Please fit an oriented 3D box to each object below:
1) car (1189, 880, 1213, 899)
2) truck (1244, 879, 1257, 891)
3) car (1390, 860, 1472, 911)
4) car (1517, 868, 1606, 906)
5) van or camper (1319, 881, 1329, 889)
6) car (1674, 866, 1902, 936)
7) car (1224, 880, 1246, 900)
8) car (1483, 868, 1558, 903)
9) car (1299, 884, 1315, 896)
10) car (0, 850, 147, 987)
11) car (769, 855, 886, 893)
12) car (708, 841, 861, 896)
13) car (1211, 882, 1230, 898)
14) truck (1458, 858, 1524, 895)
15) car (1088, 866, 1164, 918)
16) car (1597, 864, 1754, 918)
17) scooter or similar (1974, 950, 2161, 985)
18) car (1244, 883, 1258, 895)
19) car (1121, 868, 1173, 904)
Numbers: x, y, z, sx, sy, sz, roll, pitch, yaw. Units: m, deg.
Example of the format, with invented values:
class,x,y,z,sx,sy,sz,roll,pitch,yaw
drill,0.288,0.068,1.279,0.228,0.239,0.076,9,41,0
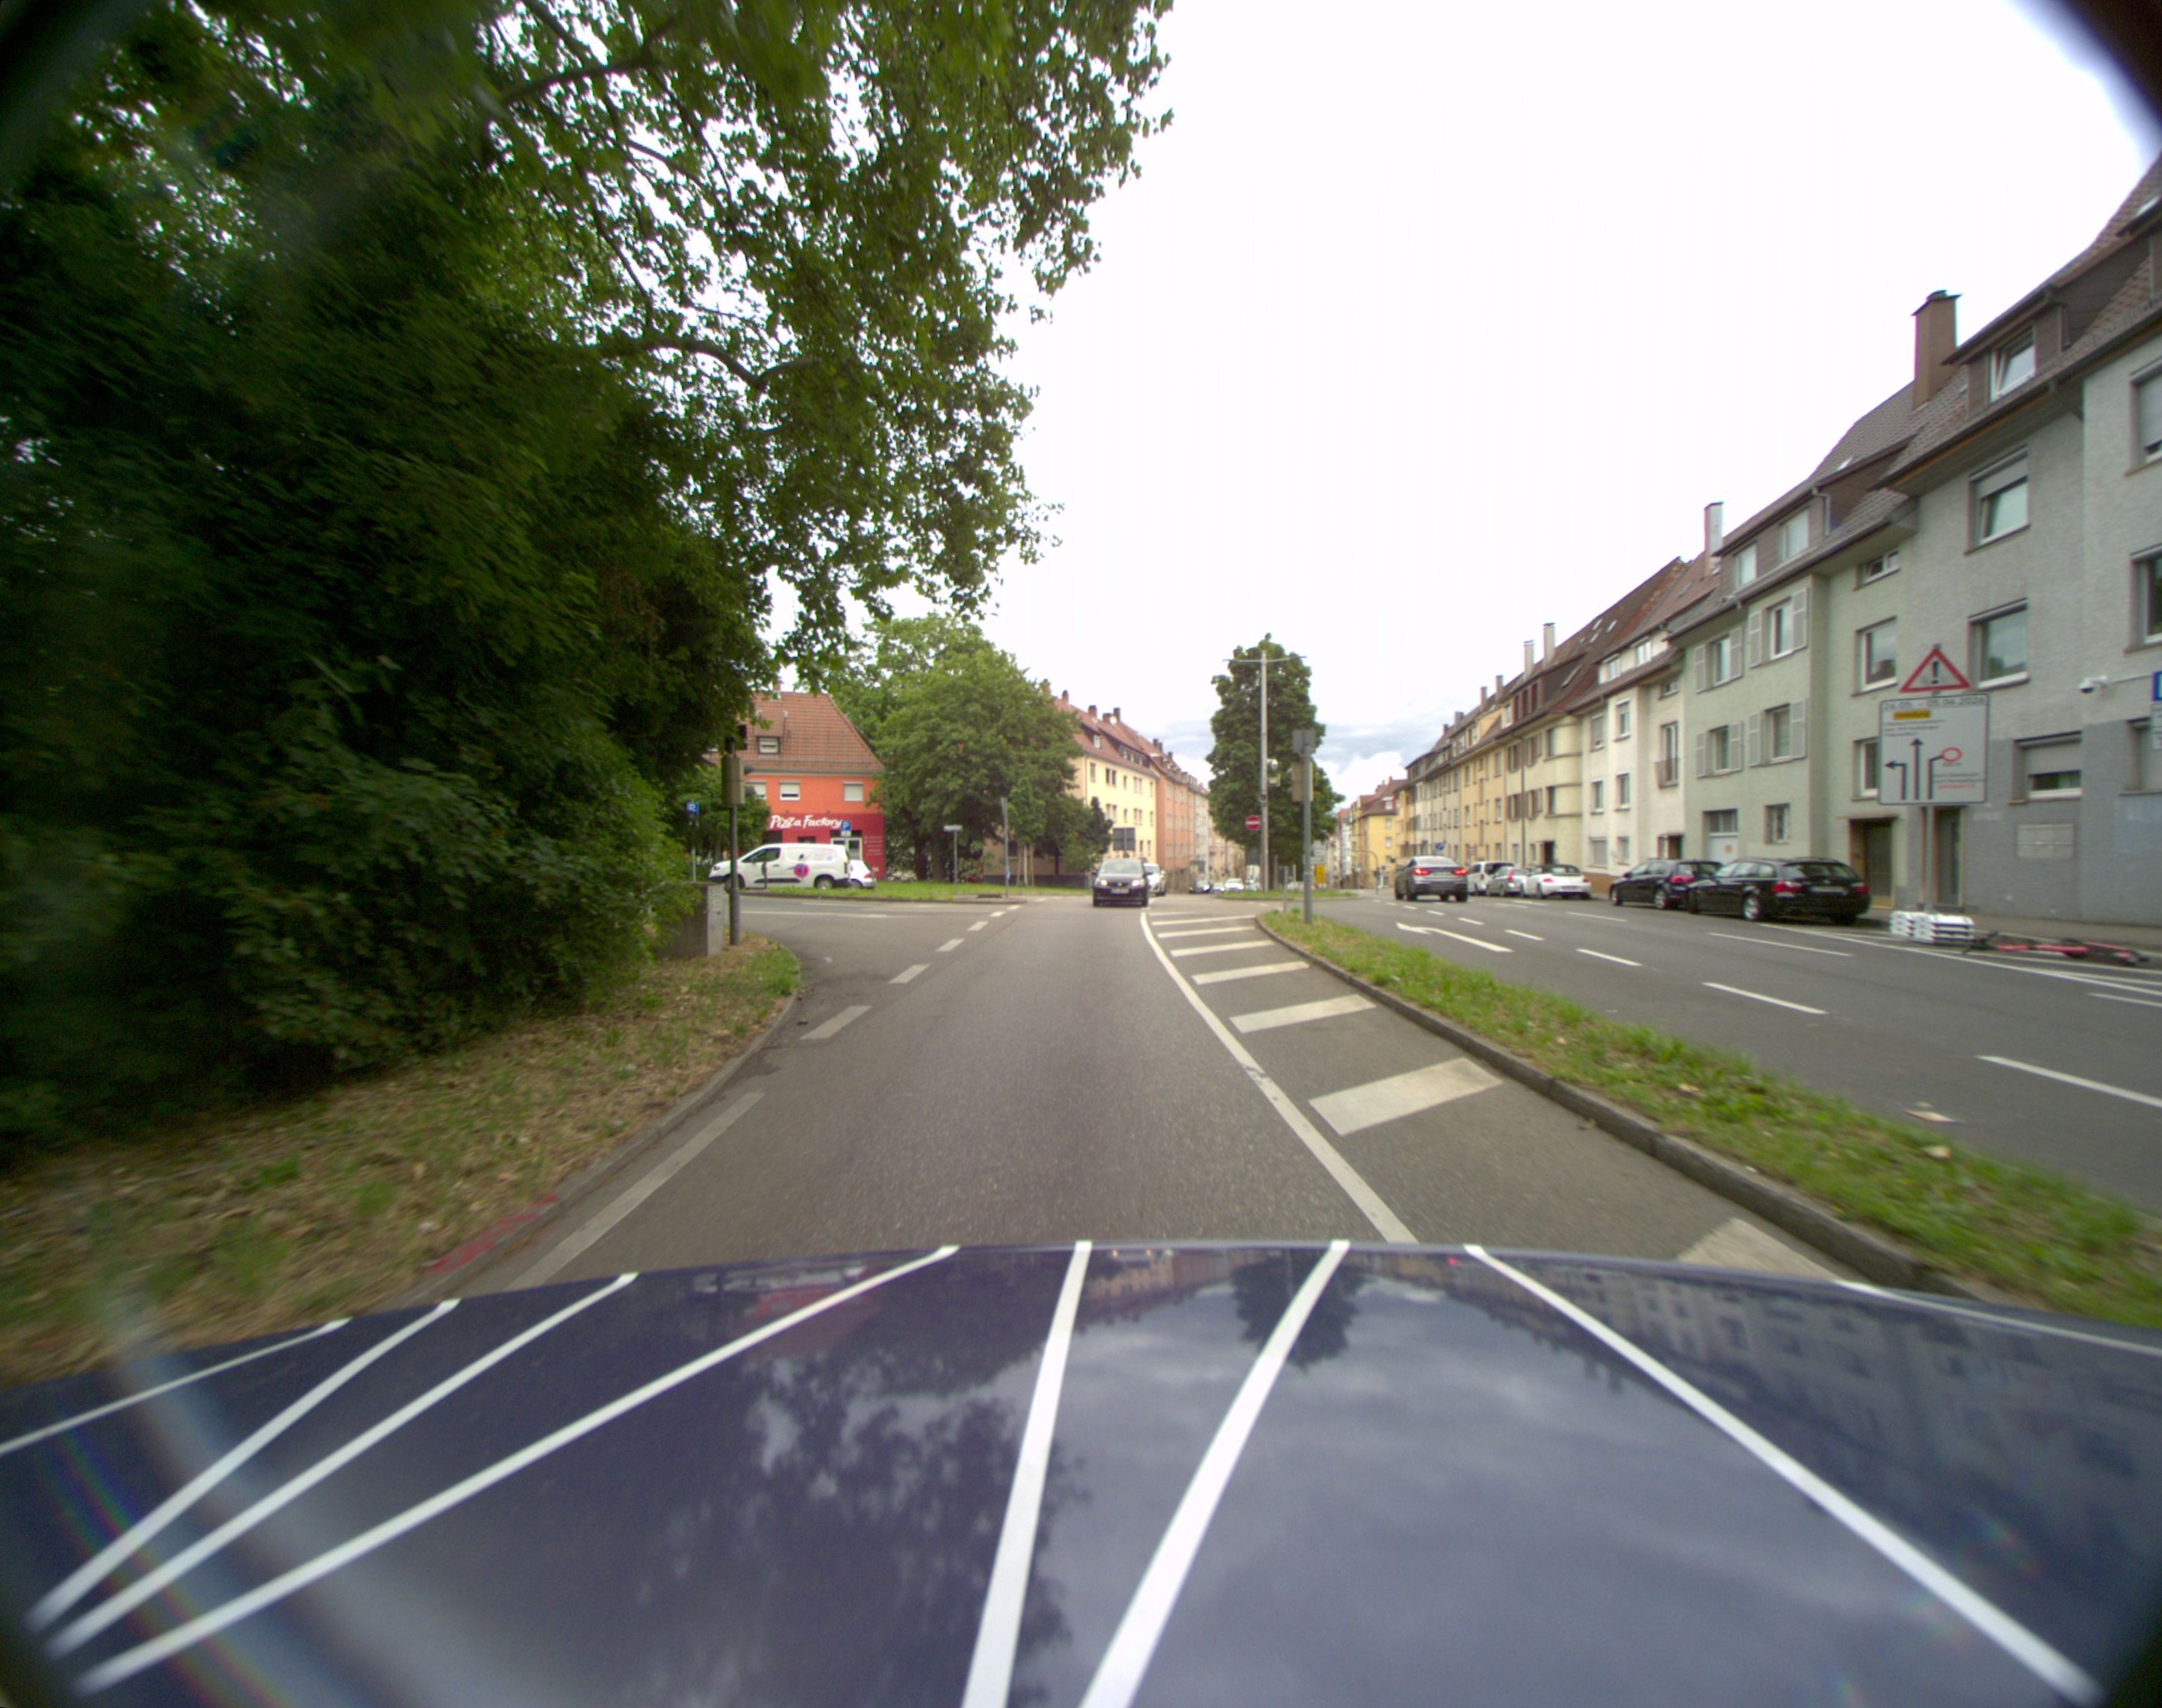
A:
class,x,y,z,sx,sy,sz,roll,pitch,yaw
car,10.710,3.119,67.413,1.782,1.583,3.538,2,0,14
truck,41.868,7.628,187.390,2.549,2.890,7.790,0,-2,17
car,13.002,1.098,28.547,1.872,1.688,4.941,0,0,14
car,19.875,1.355,31.644,1.996,1.465,4.165,0,-2,16
van or camper,55.171,6.953,172.344,1.910,1.750,4.662,-1,-3,16
car,15.934,1.005,17.516,1.996,1.392,4.525,0,-2,16
car,13.761,3.208,67.882,1.782,1.583,3.538,2,0,14
car,21.030,1.512,36.544,1.996,1.543,4.389,0,-2,15
car,28.575,4.529,96.082,1.748,1.458,4.593,-1,-3,15
car,-15.654,0.821,11.091,1.867,1.477,4.411,4,1,-42
car,-10.201,0.836,30.876,4.129,1.419,1.863,1,-3,-5
car,-10.371,0.535,26.956,4.846,1.778,1.788,-1,-3,-15
car,14.945,3.827,81.178,1.782,1.583,3.538,2,0,14
truck,22.546,1.295,42.044,1.996,1.908,5.355,0,-2,15
car,1.456,1.148,23.418,1.602,1.448,3.690,-2,-2,15
car,17.334,1.045,22.456,1.997,1.414,4.217,0,-2,12
scooter or similar,12.920,1.478,9.958,1.126,0.286,1.099,1,0,0
car,23.998,4.918,107.372,1.782,1.583,3.538,2,0,14
car,3.296,1.597,37.428,1.778,1.597,4.170,-3,-4,15
